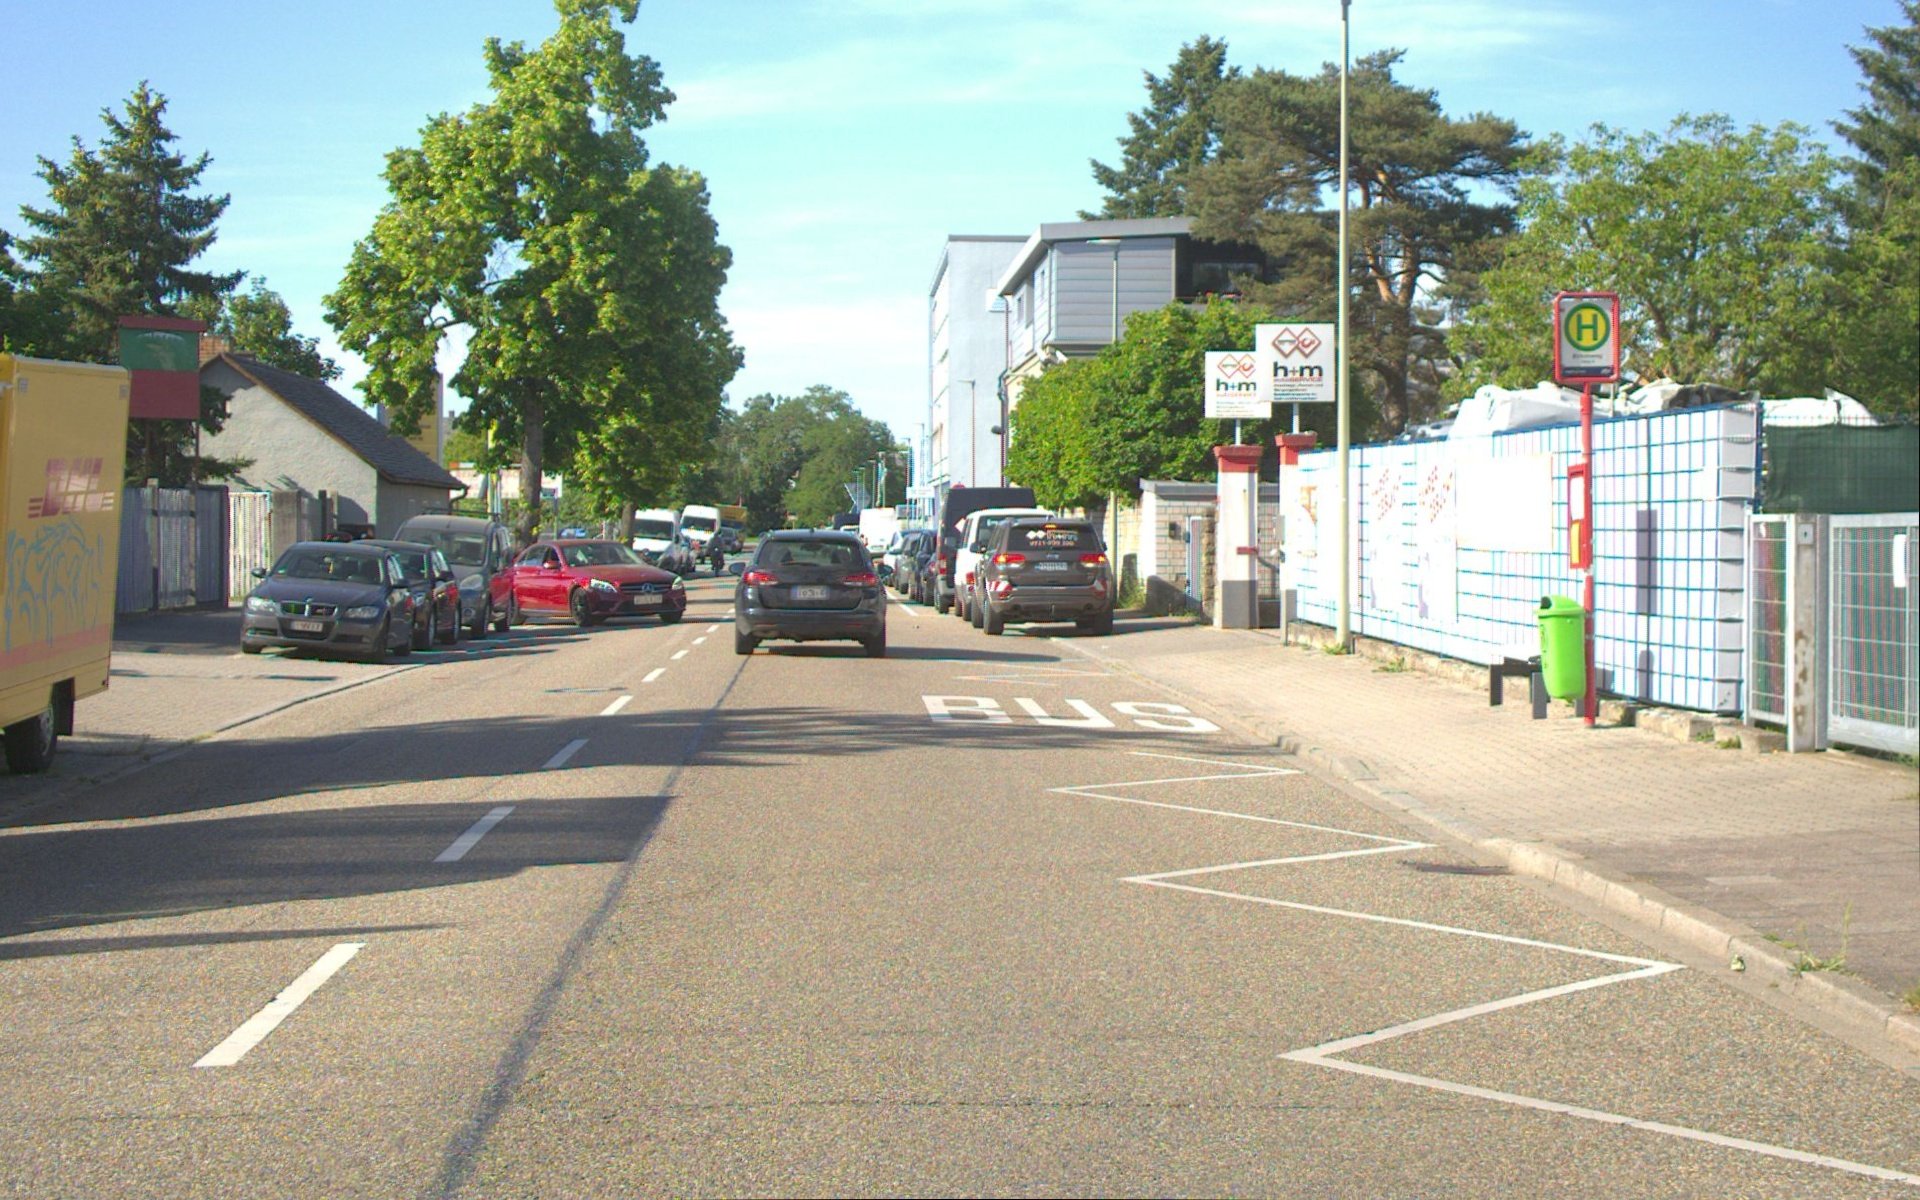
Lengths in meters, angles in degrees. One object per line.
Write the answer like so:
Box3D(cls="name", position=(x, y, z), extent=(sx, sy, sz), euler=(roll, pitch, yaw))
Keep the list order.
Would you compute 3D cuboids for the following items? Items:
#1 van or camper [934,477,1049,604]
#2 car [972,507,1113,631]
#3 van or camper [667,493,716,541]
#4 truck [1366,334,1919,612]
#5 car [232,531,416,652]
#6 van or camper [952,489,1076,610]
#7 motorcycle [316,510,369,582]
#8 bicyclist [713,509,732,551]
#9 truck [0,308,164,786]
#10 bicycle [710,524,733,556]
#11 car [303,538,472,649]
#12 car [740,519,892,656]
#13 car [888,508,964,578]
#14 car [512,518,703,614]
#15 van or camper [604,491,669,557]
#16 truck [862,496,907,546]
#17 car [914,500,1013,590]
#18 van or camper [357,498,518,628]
Box3D(cls="van or camper", position=(0.557, -1.128, 64.514), extent=(1.993, 2.302, 4.001), euler=(0, 1, -2))
Box3D(cls="car", position=(1.224, -0.510, 52.723), extent=(1.919, 1.819, 4.080), euler=(0, 1, -2))
Box3D(cls="van or camper", position=(-13.682, -4.226, 175.048), extent=(2.323, 2.354, 6.530), euler=(0, 1, -6))
Box3D(cls="truck", position=(9.678, -1.765, 48.548), extent=(7.372, 3.758, 2.834), euler=(0, 1, -6))
Box3D(cls="car", position=(-7.973, -0.146, 43.436), extent=(1.756, 1.398, 4.558), euler=(0, 2, -4))
Box3D(cls="van or camper", position=(0.889, -0.891, 59.190), extent=(1.919, 2.012, 4.080), euler=(0, 1, -2))
Box3D(cls="motorcycle", position=(-12.553, -1.105, 69.973), extent=(0.777, 1.440, 2.039), euler=(0, 1, -2))
Box3D(cls="bicyclist", position=(-8.792, -2.588, 127.031), extent=(0.695, 1.534, 0.635), euler=(0, 1, -4))
Box3D(cls="truck", position=(-6.912, -0.381, 21.916), extent=(2.192, 2.892, 6.439), euler=(2, 2, -1))
Box3D(cls="bicycle", position=(-8.808, -2.213, 127.001), extent=(0.829, 1.149, 2.941), euler=(0, 2, -3))
Box3D(cls="car", position=(-8.076, -0.128, 48.806), extent=(1.694, 1.464, 4.174), euler=(0, 2, 0))
Box3D(cls="car", position=(-1.673, -0.188, 41.003), extent=(1.711, 1.527, 3.688), euler=(0, 2, -1))
Box3D(cls="car", position=(-0.932, -1.530, 91.736), extent=(1.919, 1.819, 4.080), euler=(0, 1, -2))
Box3D(cls="car", position=(-5.938, -0.594, 57.557), extent=(1.875, 1.480, 4.045), euler=(-2, 2, -26))
Box3D(cls="van or camper", position=(-11.865, -2.795, 125.757), extent=(2.323, 2.354, 6.530), euler=(0, 1, -6))
Box3D(cls="truck", position=(-3.489, -3.650, 158.361), extent=(1.993, 2.280, 6.956), euler=(0, 1, -2))
Box3D(cls="car", position=(0.035, -1.172, 71.730), extent=(1.919, 1.819, 4.080), euler=(0, 1, -2))
Box3D(cls="van or camper", position=(-8.060, -0.590, 53.319), extent=(1.890, 1.919, 4.266), euler=(-1, 1, -1))
